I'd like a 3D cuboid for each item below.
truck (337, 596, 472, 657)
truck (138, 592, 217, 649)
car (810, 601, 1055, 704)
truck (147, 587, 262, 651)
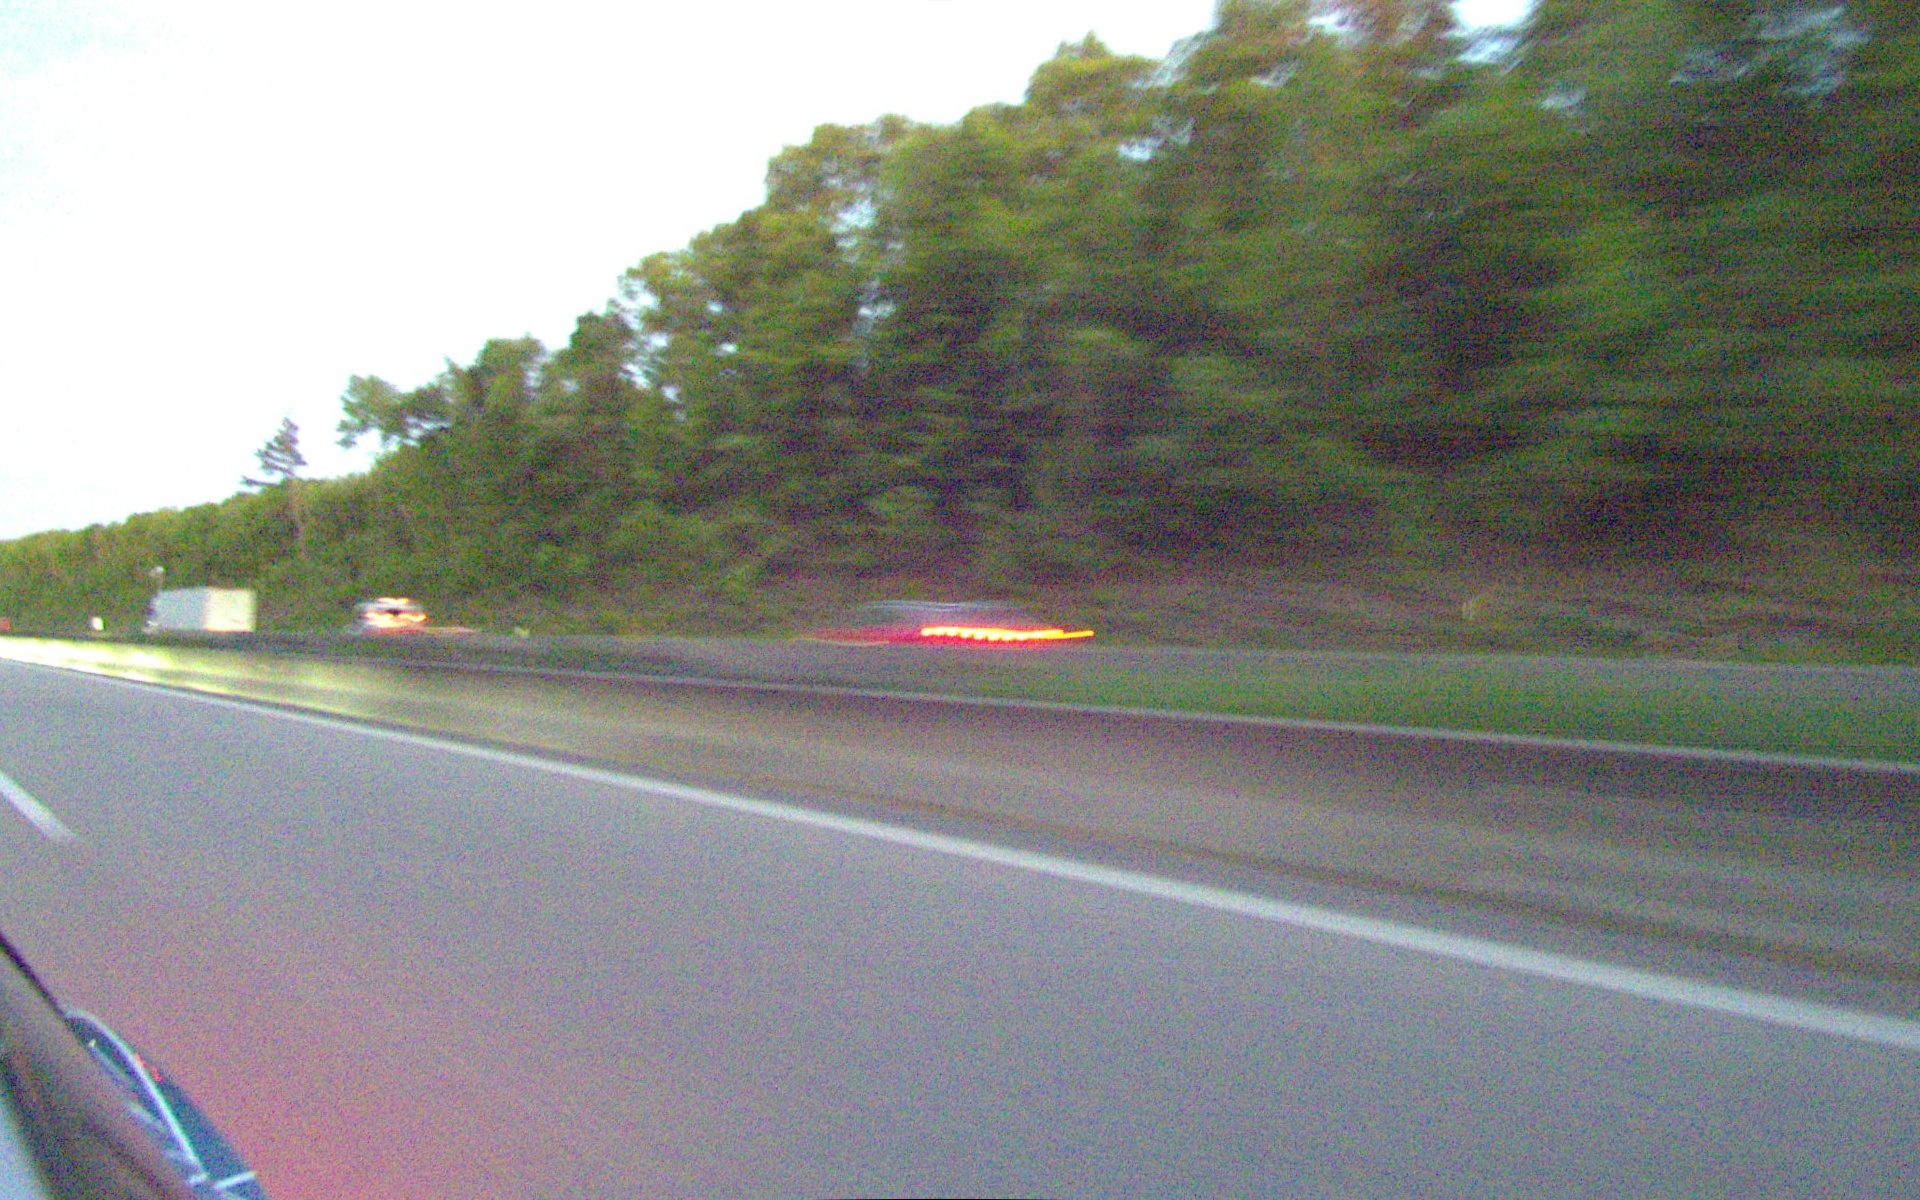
[{"bbox_3d":[-25.383,1.200,45.907,9.754,2.529,2.434,-2,-1,43],"label":"truck"},{"bbox_3d":[-58.221,1.572,75.257,6.874,4.034,3.345,-2,-2,40],"label":"truck"},{"bbox_3d":[-0.628,0.924,19.111,4.712,1.728,1.718,-2,-1,41],"label":"car"},{"bbox_3d":[-53.000,1.409,70.704,14.487,4.034,3.322,-2,-2,41],"label":"truck"}]
